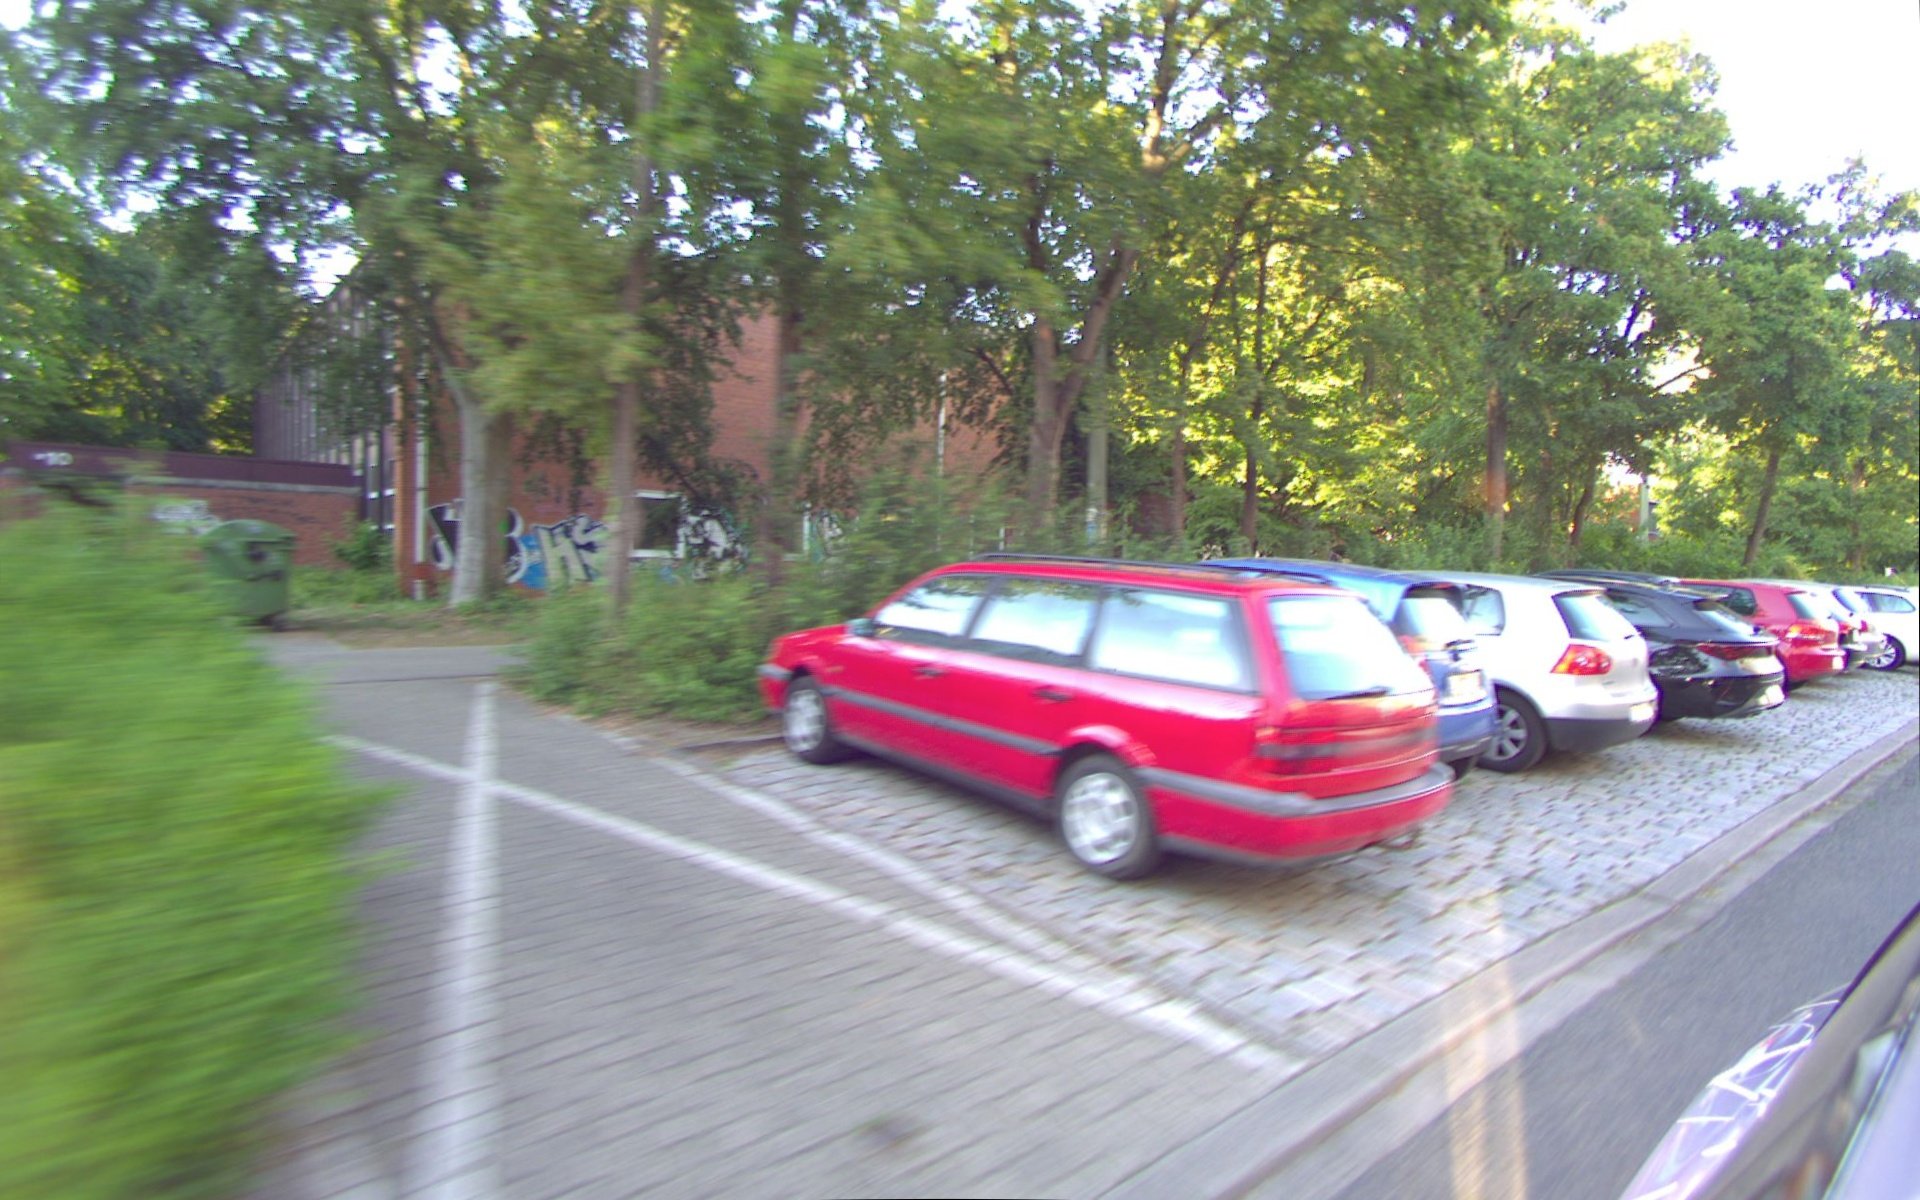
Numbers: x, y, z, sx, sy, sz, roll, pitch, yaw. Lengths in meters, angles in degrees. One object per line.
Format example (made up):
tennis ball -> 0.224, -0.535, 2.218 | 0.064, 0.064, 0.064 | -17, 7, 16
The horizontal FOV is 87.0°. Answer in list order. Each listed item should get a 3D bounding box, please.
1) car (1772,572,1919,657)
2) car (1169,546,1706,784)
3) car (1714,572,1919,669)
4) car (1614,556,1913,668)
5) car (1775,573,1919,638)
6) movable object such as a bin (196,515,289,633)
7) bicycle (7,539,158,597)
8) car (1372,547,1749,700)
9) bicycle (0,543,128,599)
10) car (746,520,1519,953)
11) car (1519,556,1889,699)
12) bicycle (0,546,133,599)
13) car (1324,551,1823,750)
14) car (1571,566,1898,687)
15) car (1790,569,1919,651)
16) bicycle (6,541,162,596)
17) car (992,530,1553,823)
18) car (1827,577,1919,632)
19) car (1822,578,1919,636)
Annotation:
car -> 18.810, 0.316, 20.242 | 1.705, 1.461, 3.675 | 0, 6, -42
car -> 4.039, 0.362, 9.133 | 1.799, 1.471, 3.937 | -1, 5, -38
car -> 16.468, 0.336, 18.788 | 1.705, 1.571, 3.673 | -1, 3, -42
car -> 14.010, 0.108, 17.818 | 1.788, 1.516, 3.736 | -1, 6, -39
car -> 24.255, 0.111, 27.168 | 1.642, 1.544, 3.393 | 0, 3, -40
movable object such as a bin -> -9.365, -0.347, 13.203 | 0.966, 1.456, 0.965 | 0, 3, -37
bicycle -> -18.152, -0.664, 21.027 | 2.345, 1.152, 0.649 | -1, 3, -39
car -> 7.758, 0.182, 13.379 | 1.799, 1.492, 3.820 | -1, 6, -38
bicycle -> -19.679, -0.630, 22.072 | 2.345, 1.152, 0.649 | -1, 3, -39
car -> 0.595, 0.392, 5.981 | 1.711, 1.493, 4.349 | 1, 5, -41
car -> 10.327, 0.275, 14.291 | 1.725, 1.492, 3.819 | 0, 6, -39
bicycle -> -20.234, -0.618, 22.897 | 2.345, 1.152, 0.649 | -1, 3, -39
car -> 6.279, 0.344, 10.766 | 1.800, 1.492, 4.130 | -1, 6, -41
car -> 12.126, 0.300, 16.045 | 1.725, 1.411, 3.760 | -1, 6, -39
car -> 20.450, 0.247, 21.829 | 1.643, 1.543, 3.619 | 0, 6, -42
bicycle -> -17.595, -0.627, 20.411 | 2.345, 1.057, 0.649 | -1, 3, -39
car -> 2.190, 0.340, 7.814 | 1.713, 1.574, 3.718 | -1, 6, -43
car -> 28.396, 0.142, 29.907 | 1.709, 1.530, 3.958 | -1, 3, -40
car -> 26.600, 0.182, 28.253 | 1.642, 1.559, 3.635 | -1, 2, -39
